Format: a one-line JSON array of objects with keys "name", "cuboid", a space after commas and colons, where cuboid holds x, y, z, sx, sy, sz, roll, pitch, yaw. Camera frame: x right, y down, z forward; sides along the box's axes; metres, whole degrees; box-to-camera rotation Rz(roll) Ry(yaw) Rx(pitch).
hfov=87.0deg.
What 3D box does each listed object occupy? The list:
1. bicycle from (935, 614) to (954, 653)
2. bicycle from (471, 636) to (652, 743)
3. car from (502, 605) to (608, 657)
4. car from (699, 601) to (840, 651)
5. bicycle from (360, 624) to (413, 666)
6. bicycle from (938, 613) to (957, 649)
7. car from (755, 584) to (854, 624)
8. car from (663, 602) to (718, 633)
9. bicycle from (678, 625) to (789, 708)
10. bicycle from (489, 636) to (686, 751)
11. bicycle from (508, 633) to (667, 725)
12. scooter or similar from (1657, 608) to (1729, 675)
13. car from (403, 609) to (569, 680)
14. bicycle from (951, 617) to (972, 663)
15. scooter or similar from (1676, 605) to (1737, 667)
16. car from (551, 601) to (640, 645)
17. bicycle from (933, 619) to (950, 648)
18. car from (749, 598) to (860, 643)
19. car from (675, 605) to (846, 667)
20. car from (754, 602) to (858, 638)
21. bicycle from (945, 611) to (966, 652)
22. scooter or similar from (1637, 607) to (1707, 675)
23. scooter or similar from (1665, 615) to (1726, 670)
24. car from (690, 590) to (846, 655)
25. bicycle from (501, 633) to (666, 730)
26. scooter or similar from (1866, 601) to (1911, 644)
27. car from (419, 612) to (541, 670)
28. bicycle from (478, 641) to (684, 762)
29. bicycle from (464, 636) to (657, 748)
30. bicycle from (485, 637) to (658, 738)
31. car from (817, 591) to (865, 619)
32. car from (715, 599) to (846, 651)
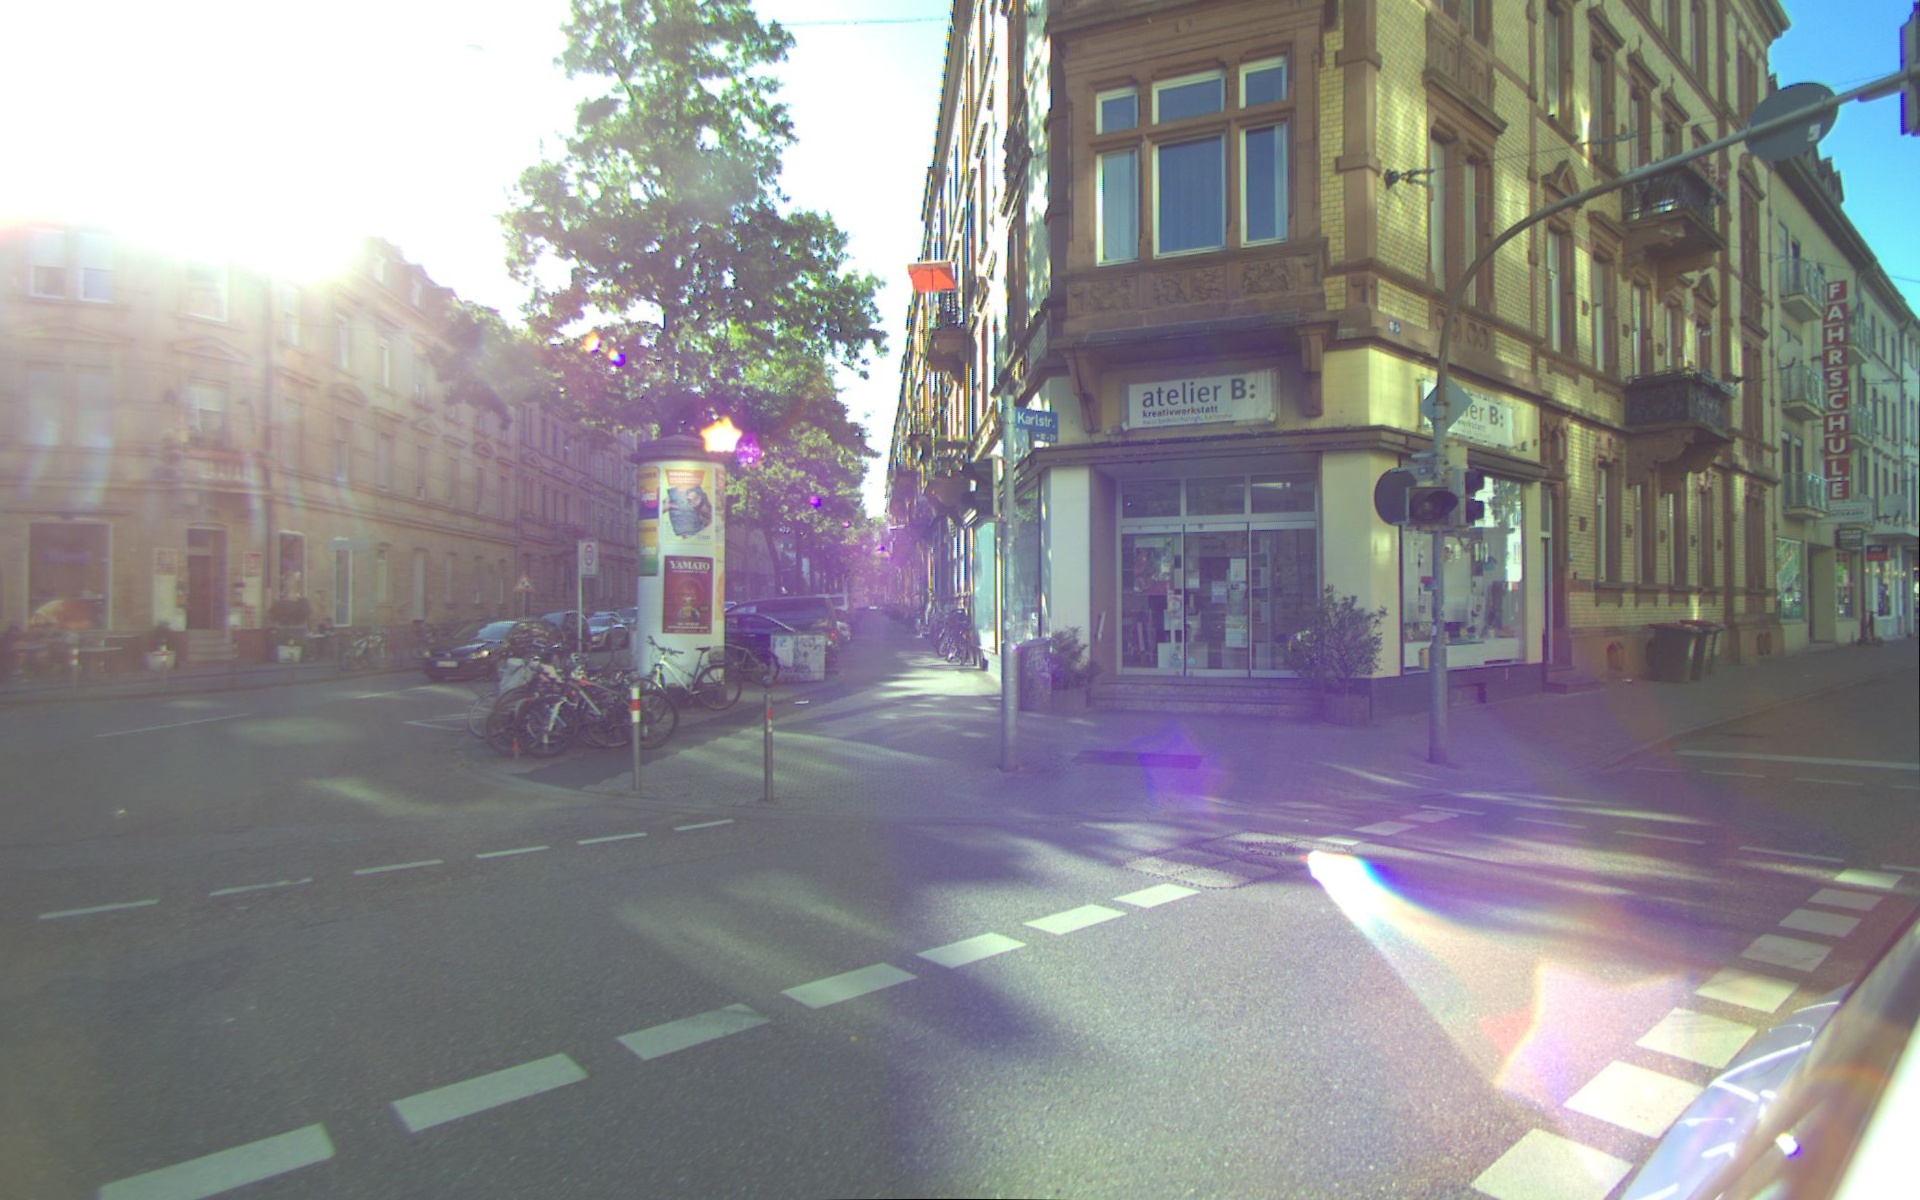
[{"name": "bicycle", "cuboid": [-0.407, 0.864, 26.204, 0.389, 0.969, 1.288, -1, 0, -5]}, {"name": "bicycle", "cuboid": [-5.060, 1.114, 12.976, 2.076, 1.157, 0.619, -3, 0, -18]}, {"name": "car", "cuboid": [-14.031, 1.023, 35.339, 1.812, 1.625, 4.246, -2, 0, 3]}, {"name": "car", "cuboid": [-5.516, 0.718, 29.458, 3.917, 1.374, 1.554, 0, 0, -10]}, {"name": "bicycle", "cuboid": [-15.465, 1.200, 27.344, 0.390, 1.056, 1.879, 0, 0, -1]}, {"name": "bicycle", "cuboid": [-0.350, 0.841, 27.898, 0.389, 0.969, 1.347, -1, 0, -5]}, {"name": "car", "cuboid": [-7.359, 0.185, 48.129, 4.578, 1.856, 1.552, -1, -1, -5]}, {"name": "car", "cuboid": [-15.416, 0.982, 58.151, 1.812, 1.625, 4.246, -2, 0, 3]}, {"name": "bicycle", "cuboid": [-3.513, 1.009, 15.674, 1.583, 1.157, 0.545, -3, 0, -18]}, {"name": "bicycle", "cuboid": [-4.298, 1.054, 11.785, 2.076, 1.157, 0.619, -2, 0, -18]}, {"name": "bicycle", "cuboid": [-5.383, 1.120, 14.731, 2.076, 1.157, 0.619, -3, 0, -18]}, {"name": "scooter or similar", "cuboid": [13.790, 0.761, 19.040, 0.639, 1.162, 0.935, 0, 3, -42]}, {"name": "car", "cuboid": [-11.500, 1.016, 24.904, 1.813, 1.517, 4.244, -2, 0, 5]}, {"name": "bicycle", "cuboid": [0.028, 0.895, 23.071, 0.389, 1.017, 1.000, -1, -1, -5]}, {"name": "scooter or similar", "cuboid": [15.066, 0.707, 20.432, 0.776, 1.162, 0.792, 0, 3, -42]}, {"name": "car", "cuboid": [-14.257, 0.865, 39.857, 1.812, 1.625, 4.246, 0, 0, 3]}, {"name": "bicycle", "cuboid": [-0.541, 0.968, 29.495, 0.389, 0.808, 1.347, -1, 0, -5]}, {"name": "car", "cuboid": [-5.663, 0.715, 36.777, 3.917, 1.545, 1.678, 0, 0, -10]}, {"name": "car", "cuboid": [-4.807, 0.840, 24.579, 3.917, 1.389, 1.828, 0, 0, -10]}, {"name": "car", "cuboid": [-6.016, 0.753, 39.395, 3.917, 1.317, 1.628, 0, 0, -10]}, {"name": "bicycle", "cuboid": [-0.118, 0.754, 24.728, 0.389, 0.969, 1.288, 0, 0, -5]}, {"name": "scooter or similar", "cuboid": [13.050, 0.737, 18.554, 0.538, 1.162, 0.899, 0, 3, -42]}, {"name": "scooter or similar", "cuboid": [14.261, 0.807, 19.623, 0.669, 0.969, 0.792, 0, 3, -42]}, {"name": "car", "cuboid": [-5.070, 0.571, 26.882, 3.917, 1.622, 1.828, 0, 0, -10]}, {"name": "bicycle", "cuboid": [-5.222, 1.114, 14.154, 2.076, 1.157, 0.619, -3, 0, -18]}, {"name": "scooter or similar", "cuboid": [30.923, 0.749, 33.704, 1.257, 1.294, 0.413, 4, 9, -24]}, {"name": "car", "cuboid": [-14.058, 1.150, 29.912, 1.809, 1.517, 4.253, -2, 0, -4]}, {"name": "bicycle", "cuboid": [-4.194, 1.095, 11.326, 2.076, 1.157, 0.619, -2, 0, -18]}, {"name": "bicycle", "cuboid": [-4.794, 1.082, 12.271, 2.076, 1.157, 0.619, -3, 0, -18]}, {"name": "bicycle", "cuboid": [-5.146, 1.137, 13.522, 2.076, 1.157, 0.619, -3, 0, -18]}, {"name": "car", "cuboid": [-10.076, 0.411, 85.522, 3.918, 2.351, 1.553, -1, -1, -9]}, {"name": "car", "cuboid": [-5.568, 0.753, 31.498, 3.917, 1.545, 1.554, 0, 0, -10]}]
